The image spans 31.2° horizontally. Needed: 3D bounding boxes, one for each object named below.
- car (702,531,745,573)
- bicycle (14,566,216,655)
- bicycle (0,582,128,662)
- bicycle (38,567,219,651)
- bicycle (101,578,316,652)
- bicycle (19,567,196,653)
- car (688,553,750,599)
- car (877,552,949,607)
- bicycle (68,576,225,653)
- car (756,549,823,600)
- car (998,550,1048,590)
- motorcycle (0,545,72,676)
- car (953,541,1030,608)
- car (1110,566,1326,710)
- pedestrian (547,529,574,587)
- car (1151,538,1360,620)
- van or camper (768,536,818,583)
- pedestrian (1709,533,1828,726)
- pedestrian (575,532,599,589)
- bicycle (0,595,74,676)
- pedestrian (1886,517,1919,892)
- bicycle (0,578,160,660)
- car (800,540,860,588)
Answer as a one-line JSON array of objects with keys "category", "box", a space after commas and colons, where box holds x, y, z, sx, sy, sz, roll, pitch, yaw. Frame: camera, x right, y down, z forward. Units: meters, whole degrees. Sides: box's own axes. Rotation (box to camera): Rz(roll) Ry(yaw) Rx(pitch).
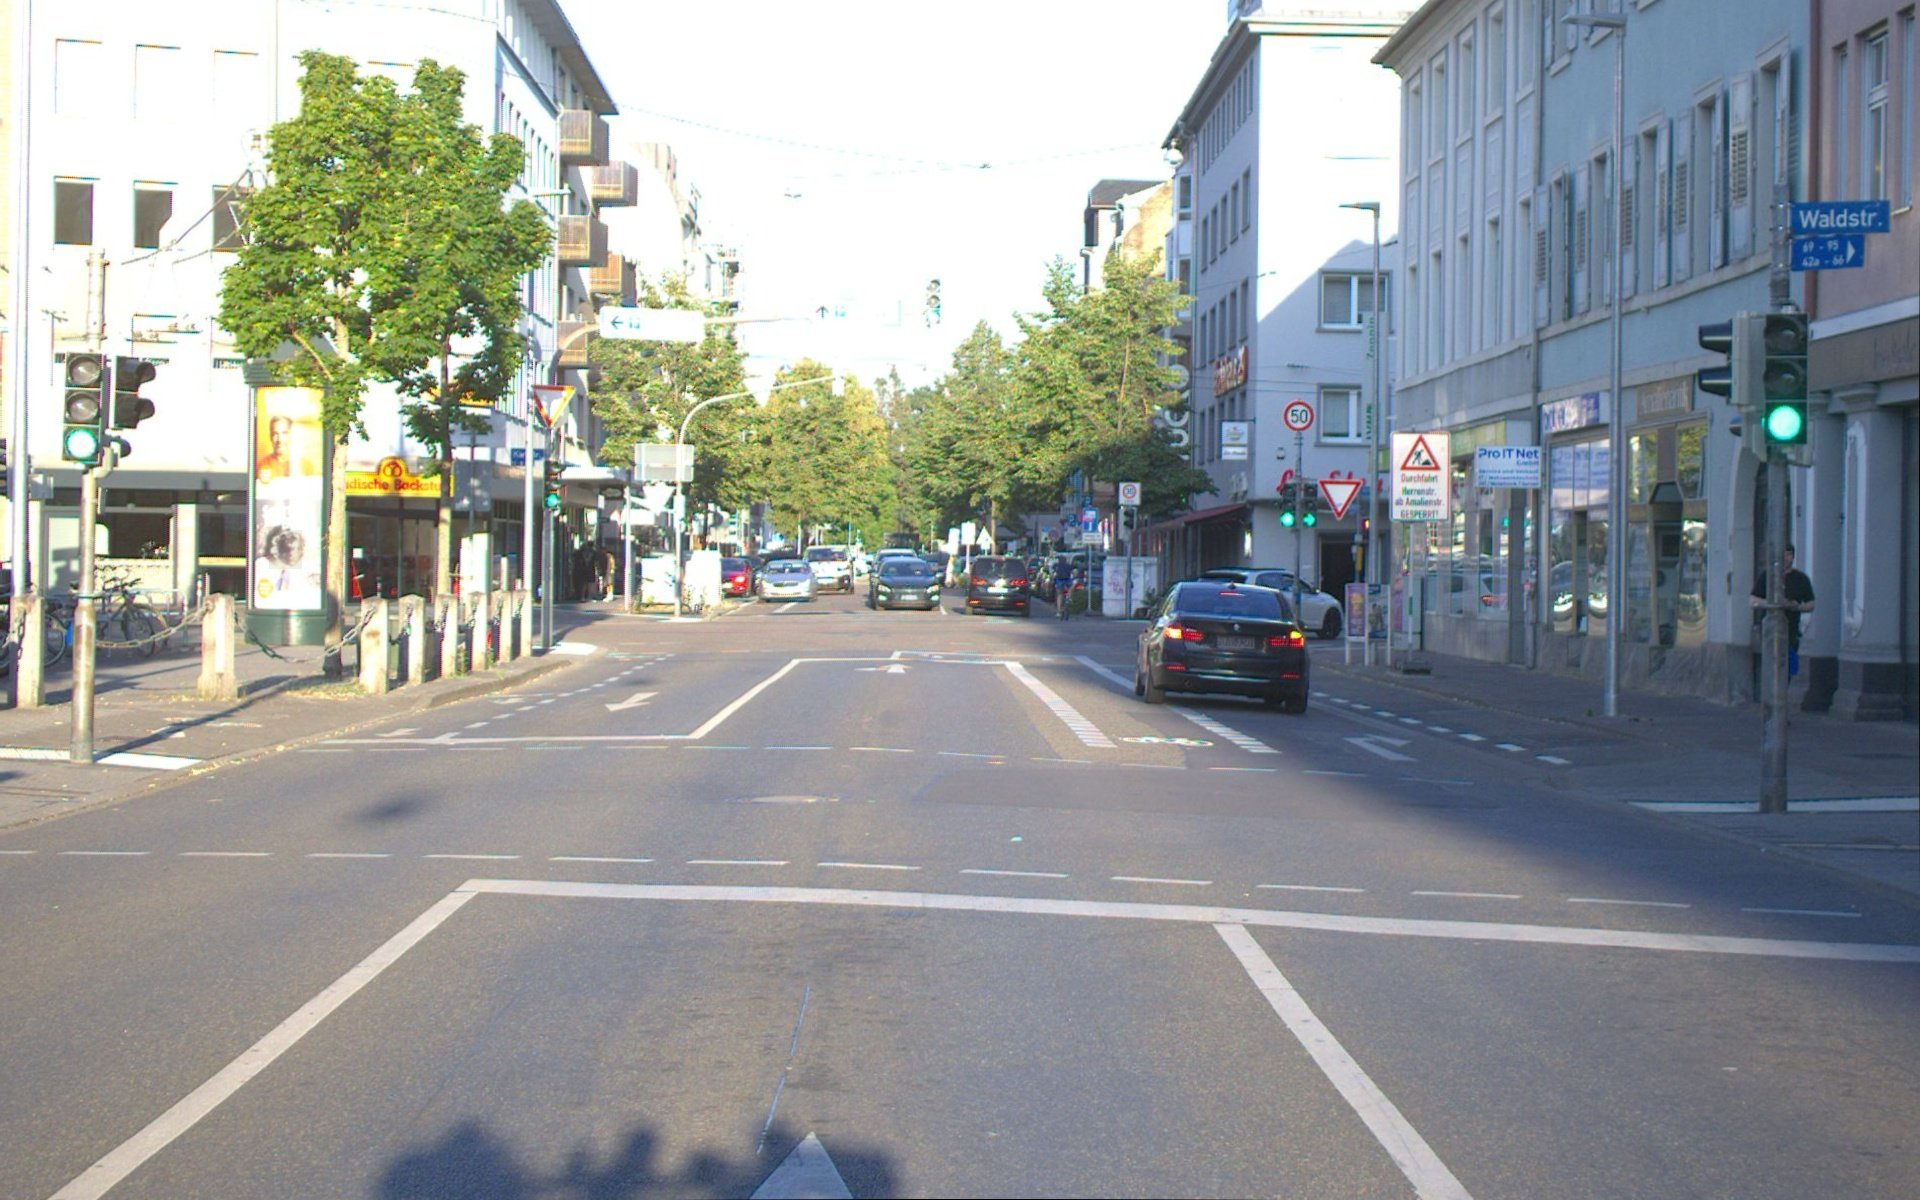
[{"category": "car", "box": [-11.860, -2.421, 172.486, 1.828, 2.007, 3.676, 1, 1, 1]}, {"category": "bicycle", "box": [-11.297, 0.138, 46.007, 2.523, 1.142, 0.701, 1, 1, -3]}, {"category": "bicycle", "box": [-11.219, 0.254, 41.218, 2.327, 0.916, 0.701, 1, 1, -3]}, {"category": "bicycle", "box": [-11.630, 0.120, 48.137, 2.323, 1.127, 0.800, 1, 1, 1]}, {"category": "bicycle", "box": [-10.999, 0.217, 50.363, 2.942, 1.019, 0.843, 1, 1, 2]}, {"category": "bicycle", "box": [-11.699, 0.132, 47.220, 2.235, 1.131, 0.812, 1, 1, -3]}, {"category": "car", "box": [-8.790, -0.876, 125.520, 1.894, 1.590, 4.000, 1, 1, 1]}, {"category": "car", "box": [-1.323, -0.590, 98.207, 1.885, 1.481, 4.000, 1, 1, 1]}, {"category": "bicycle", "box": [-11.701, 0.201, 49.487, 2.091, 1.060, 0.682, 1, 1, 0]}, {"category": "car", "box": [-5.585, -0.858, 113.007, 1.894, 1.590, 4.000, 1, 1, 1]}, {"category": "car", "box": [2.637, -1.262, 144.402, 1.780, 1.590, 3.635, 1, 1, -4]}, {"category": "motorcycle", "box": [-11.183, 0.098, 38.062, 2.413, 1.421, 1.113, 1, 1, -1]}, {"category": "car", "box": [0.840, -0.705, 93.113, 1.993, 1.744, 4.000, 1, 1, 0]}, {"category": "car", "box": [2.872, 0.386, 39.145, 1.888, 1.487, 4.205, 1, 1, -3]}, {"category": "pedestrian", "box": [-11.863, -1.254, 102.066, 0.684, 1.715, 0.702, 1, 1, 0]}, {"category": "car", "box": [6.098, -0.423, 70.761, 2.340, 1.598, 3.884, 2, 1, 44]}, {"category": "van or camper", "box": [-8.922, -2.172, 183.403, 2.472, 2.397, 4.001, 2, 1, -4]}, {"category": "pedestrian", "box": [7.617, 0.268, 32.416, 0.757, 1.771, 1.049, 1, 1, -5]}, {"category": "pedestrian", "box": [-11.341, -1.191, 104.548, 0.600, 1.715, 0.578, 1, 1, -15]}, {"category": "bicycle", "box": [-11.631, 0.400, 39.876, 2.523, 0.916, 0.701, 1, 1, -3]}, {"category": "pedestrian", "box": [4.801, 0.488, 15.721, 0.794, 1.714, 0.812, 1, 1, -7]}, {"category": "bicycle", "box": [-11.450, 0.228, 43.329, 2.523, 0.994, 0.934, 1, 1, -3]}, {"category": "car", "box": [-4.872, -1.370, 129.456, 1.993, 1.744, 4.000, 1, 1, 1]}]
